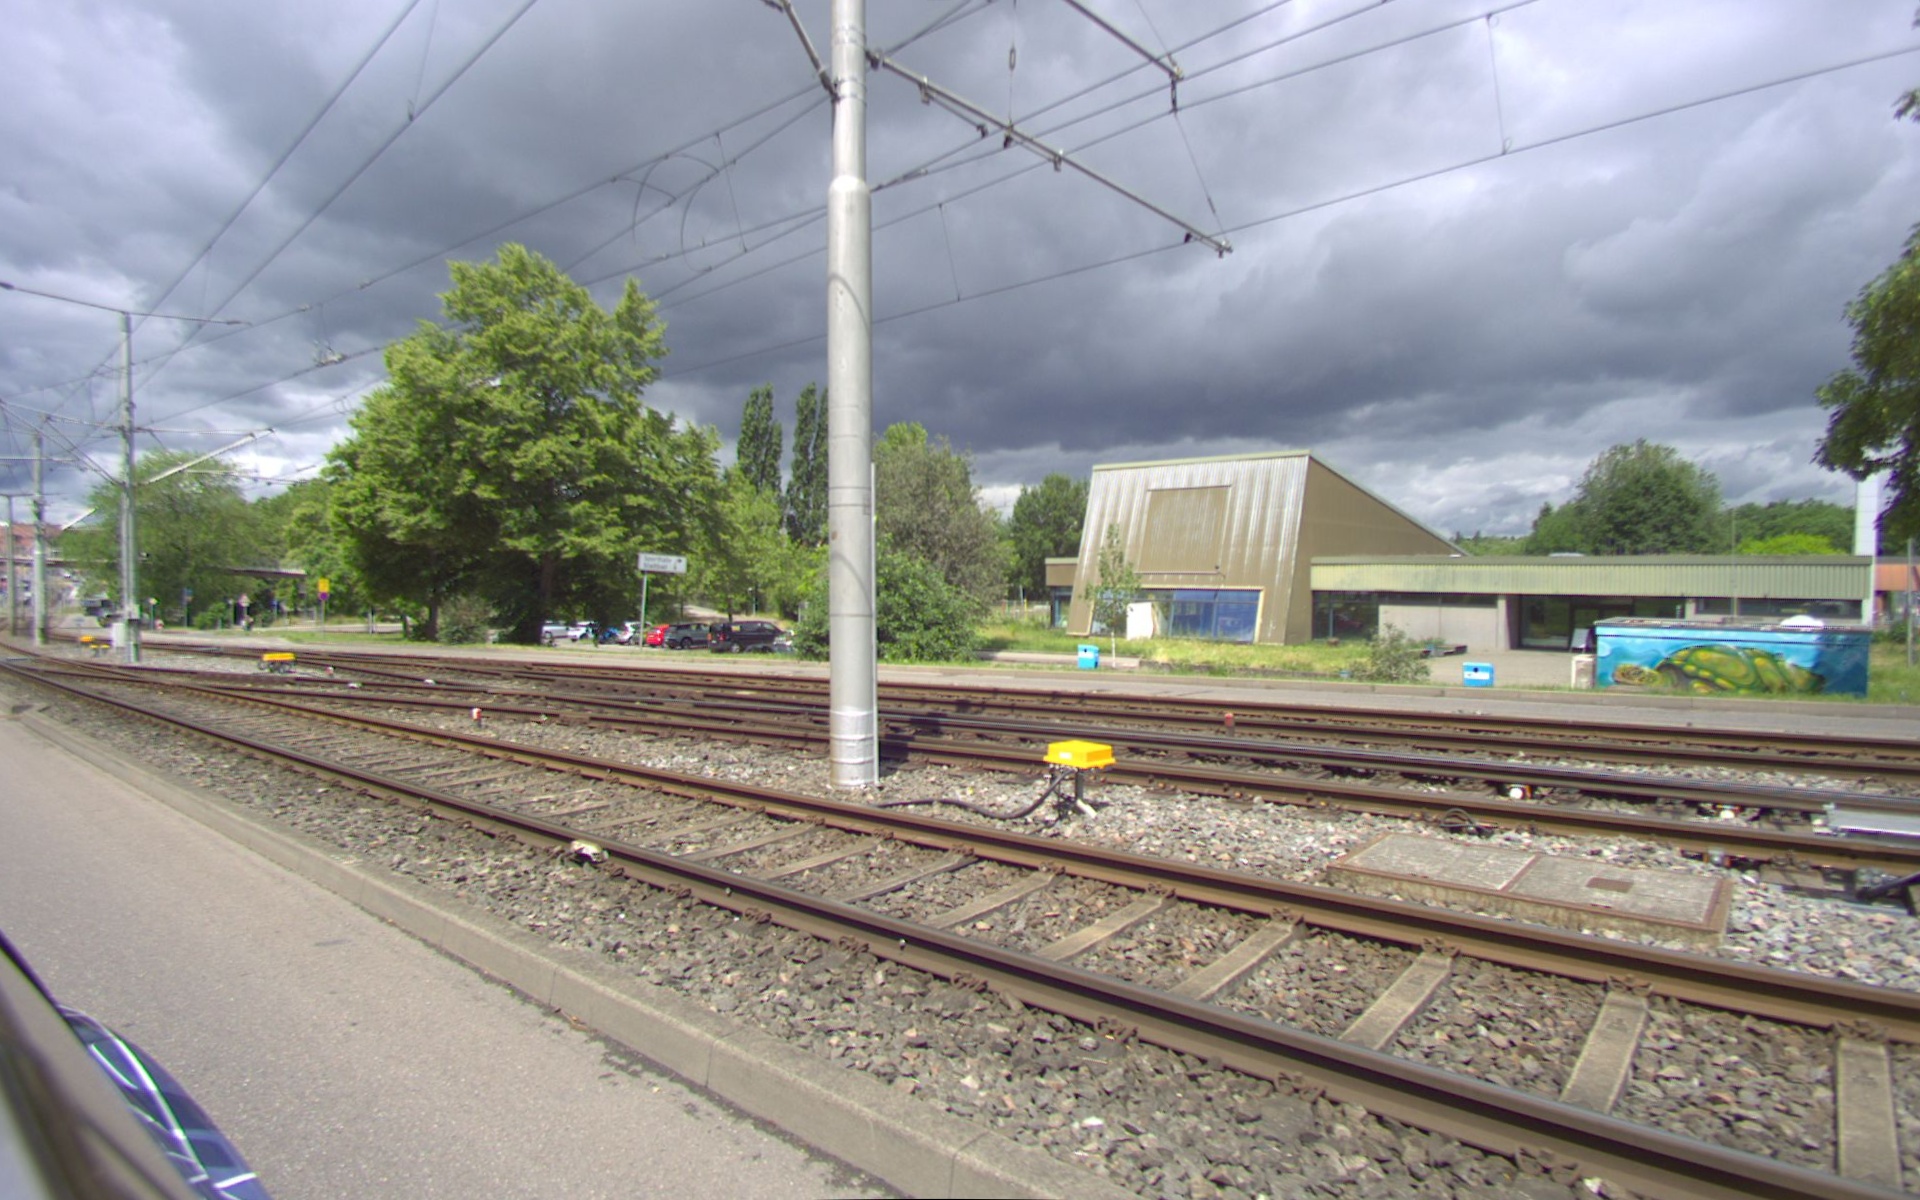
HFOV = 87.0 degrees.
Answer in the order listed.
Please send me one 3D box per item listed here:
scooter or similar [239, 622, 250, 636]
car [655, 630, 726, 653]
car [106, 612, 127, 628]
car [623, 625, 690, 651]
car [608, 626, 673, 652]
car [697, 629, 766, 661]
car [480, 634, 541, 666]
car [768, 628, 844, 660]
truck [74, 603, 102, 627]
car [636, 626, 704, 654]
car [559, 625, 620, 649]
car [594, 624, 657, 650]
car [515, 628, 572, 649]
[{"bbox_3d":[-63.451,2.574,89.735,0.701,1.156,0.789,-2,3,-40],"label":"scooter or similar"},{"bbox_3d":[-17.739,2.685,66.603,4.032,1.261,1.999,-3,0,-41],"label":"car"},{"bbox_3d":[-91.331,2.140,109.545,1.668,1.461,3.904,-2,3,-41],"label":"car"},{"bbox_3d":[-21.048,2.606,70.226,3.905,1.592,1.999,-3,0,-41],"label":"car"},{"bbox_3d":[-22.619,2.727,71.762,3.905,1.592,1.996,-3,0,-41],"label":"car"},{"bbox_3d":[-13.777,2.686,61.147,3.550,1.649,1.955,-2,1,-38],"label":"car"},{"bbox_3d":[-27.748,3.067,62.414,4.069,1.768,1.968,-2,0,43],"label":"car"},{"bbox_3d":[-8.958,2.534,59.009,3.936,1.611,1.863,-2,1,-38],"label":"car"},{"bbox_3d":[-136.389,2.316,158.306,2.838,3.344,9.039,-3,3,-43],"label":"truck"},{"bbox_3d":[-19.618,2.682,68.497,3.905,1.592,1.999,-3,0,-41],"label":"car"},{"bbox_3d":[-28.063,2.800,76.696,3.868,1.592,1.845,-3,0,-41],"label":"car"},{"bbox_3d":[-24.252,2.672,73.422,3.905,1.592,1.872,-3,0,-41],"label":"car"},{"bbox_3d":[-33.149,3.068,80.581,3.820,1.401,1.576,-2,3,-39],"label":"car"}]
